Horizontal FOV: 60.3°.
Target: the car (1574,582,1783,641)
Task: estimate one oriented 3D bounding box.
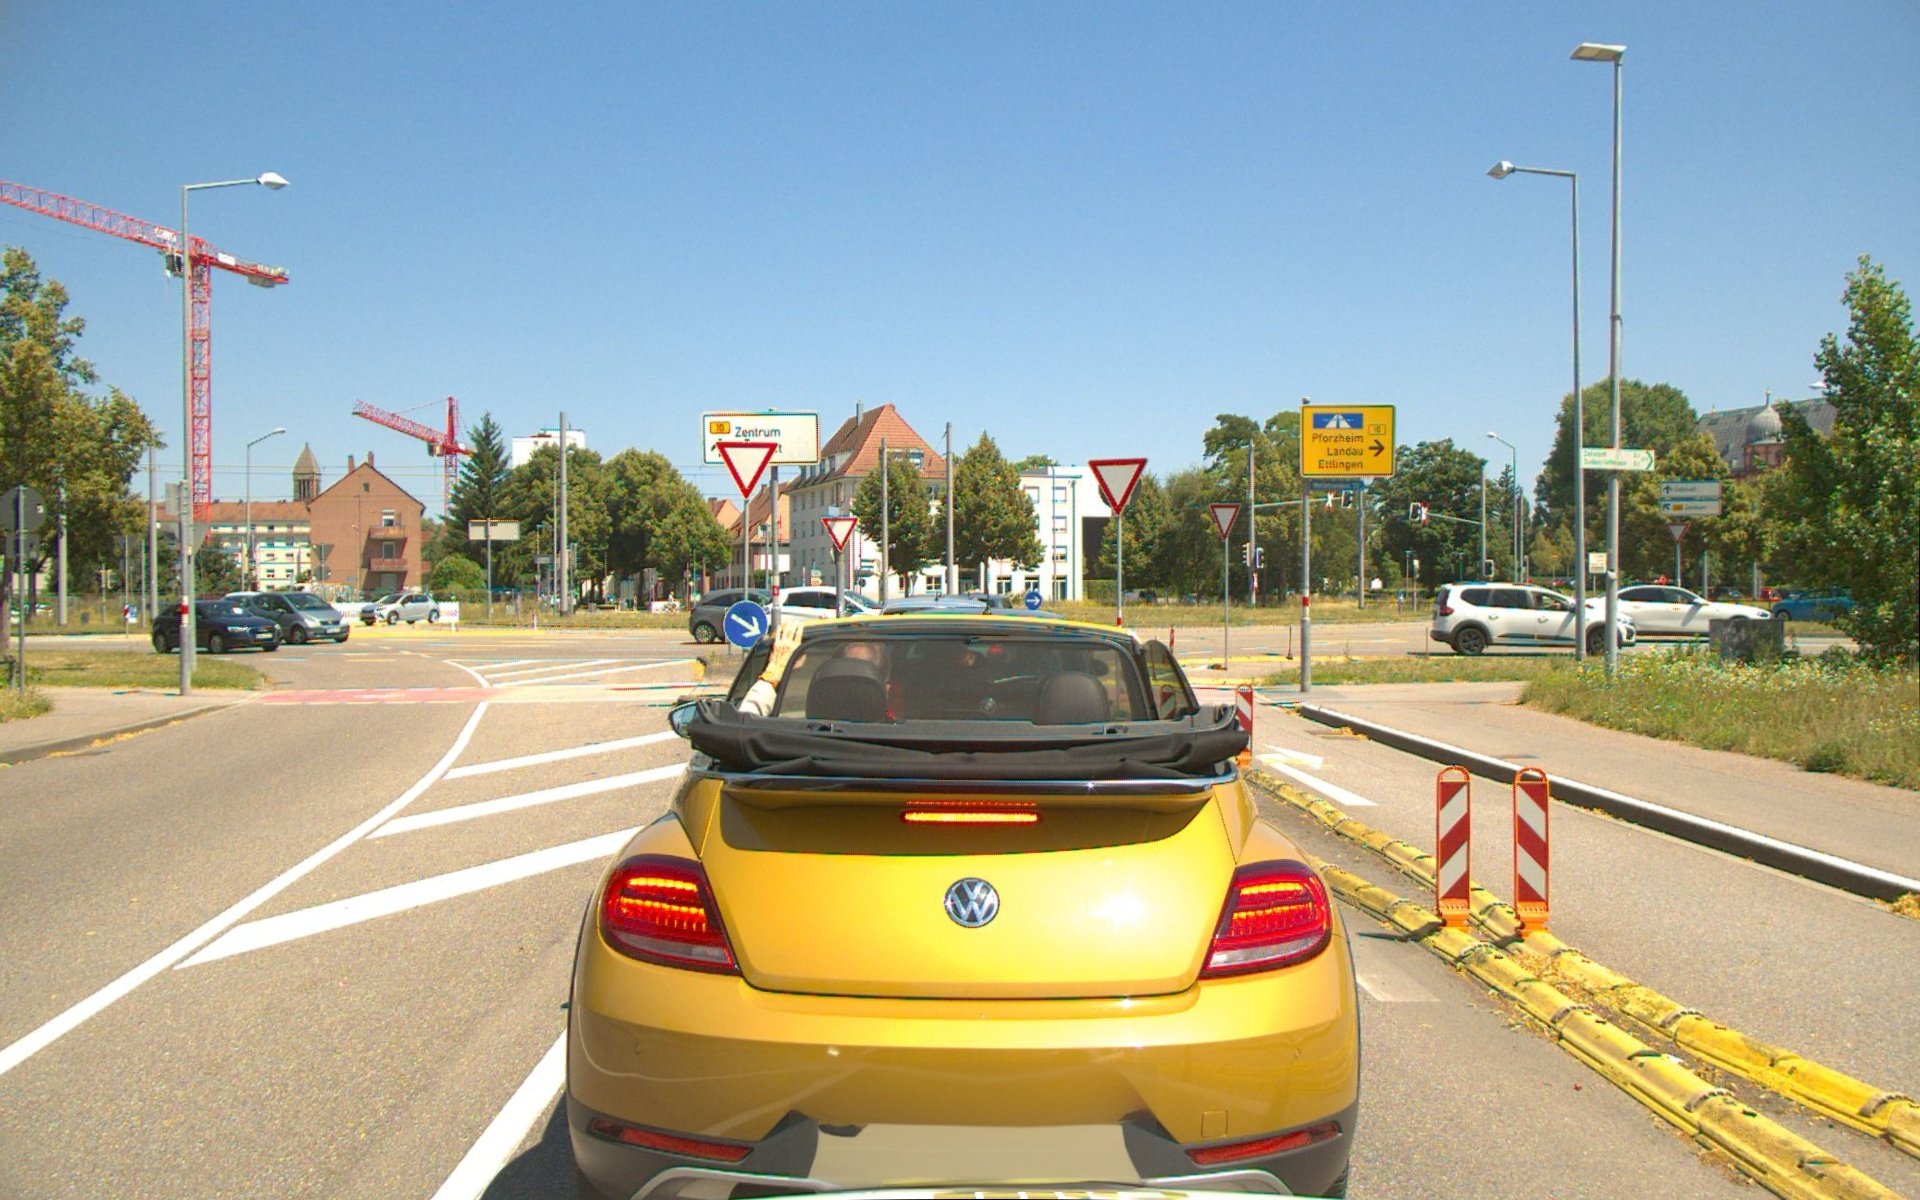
[{"bbox_3d":[19.260,0.293,44.569,4.884,1.536,2.002,0,0,14],"label":"car"}]

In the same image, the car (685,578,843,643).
[{"bbox_3d":[-5.338,0.297,45.160,3.902,1.522,1.649,-4,-1,13],"label":"car"}]

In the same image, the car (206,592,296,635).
[{"bbox_3d":[-26.800,0.499,62.673,1.720,1.576,3.999,0,0,-1],"label":"car"}]

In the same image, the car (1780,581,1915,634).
[{"bbox_3d":[32.450,0.277,60.552,1.974,1.870,3.956,0,0,-32],"label":"car"}]

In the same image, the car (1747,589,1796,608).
[{"bbox_3d":[76.426,-0.141,155.789,3.926,1.744,1.989,0,0,-19],"label":"car"}]

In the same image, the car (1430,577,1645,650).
[{"bbox_3d":[13.146,0.301,37.917,4.477,1.593,2.002,0,0,14],"label":"car"}]

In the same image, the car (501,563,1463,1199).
[{"bbox_3d":[0.013,0.662,4.848,1.717,1.447,3.776,0,0,-1],"label":"car"}]

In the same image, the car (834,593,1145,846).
[{"bbox_3d":[0.151,0.699,11.662,1.810,1.467,3.999,0,0,-1],"label":"car"}]

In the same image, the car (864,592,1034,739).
[{"bbox_3d":[-0.134,0.657,18.671,1.701,1.467,3.999,0,0,-1],"label":"car"}]

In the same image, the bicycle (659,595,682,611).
[{"bbox_3d":[-19.853,0.231,113.489,1.449,1.090,0.494,0,0,-28],"label":"bicycle"}]

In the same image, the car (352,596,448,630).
[{"bbox_3d":[-26.360,0.594,77.928,1.676,1.526,4.210,0,0,32],"label":"car"}]

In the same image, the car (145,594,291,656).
[{"bbox_3d":[-20.521,0.666,45.720,3.925,1.648,1.733,0,0,31],"label":"car"}]

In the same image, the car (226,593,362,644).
[{"bbox_3d":[-20.531,0.548,50.960,3.911,1.522,1.798,0,0,28],"label":"car"}]

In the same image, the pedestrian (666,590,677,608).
[{"bbox_3d":[-19.808,-0.062,113.514,0.668,1.252,0.494,0,0,-28],"label":"pedestrian"}]

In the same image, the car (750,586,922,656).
[{"bbox_3d":[-3.021,0.496,40.613,3.913,1.648,1.682,0,0,9],"label":"car"}]

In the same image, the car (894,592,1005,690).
[{"bbox_3d":[-0.189,0.631,27.472,1.701,1.503,3.999,0,0,-1],"label":"car"}]
